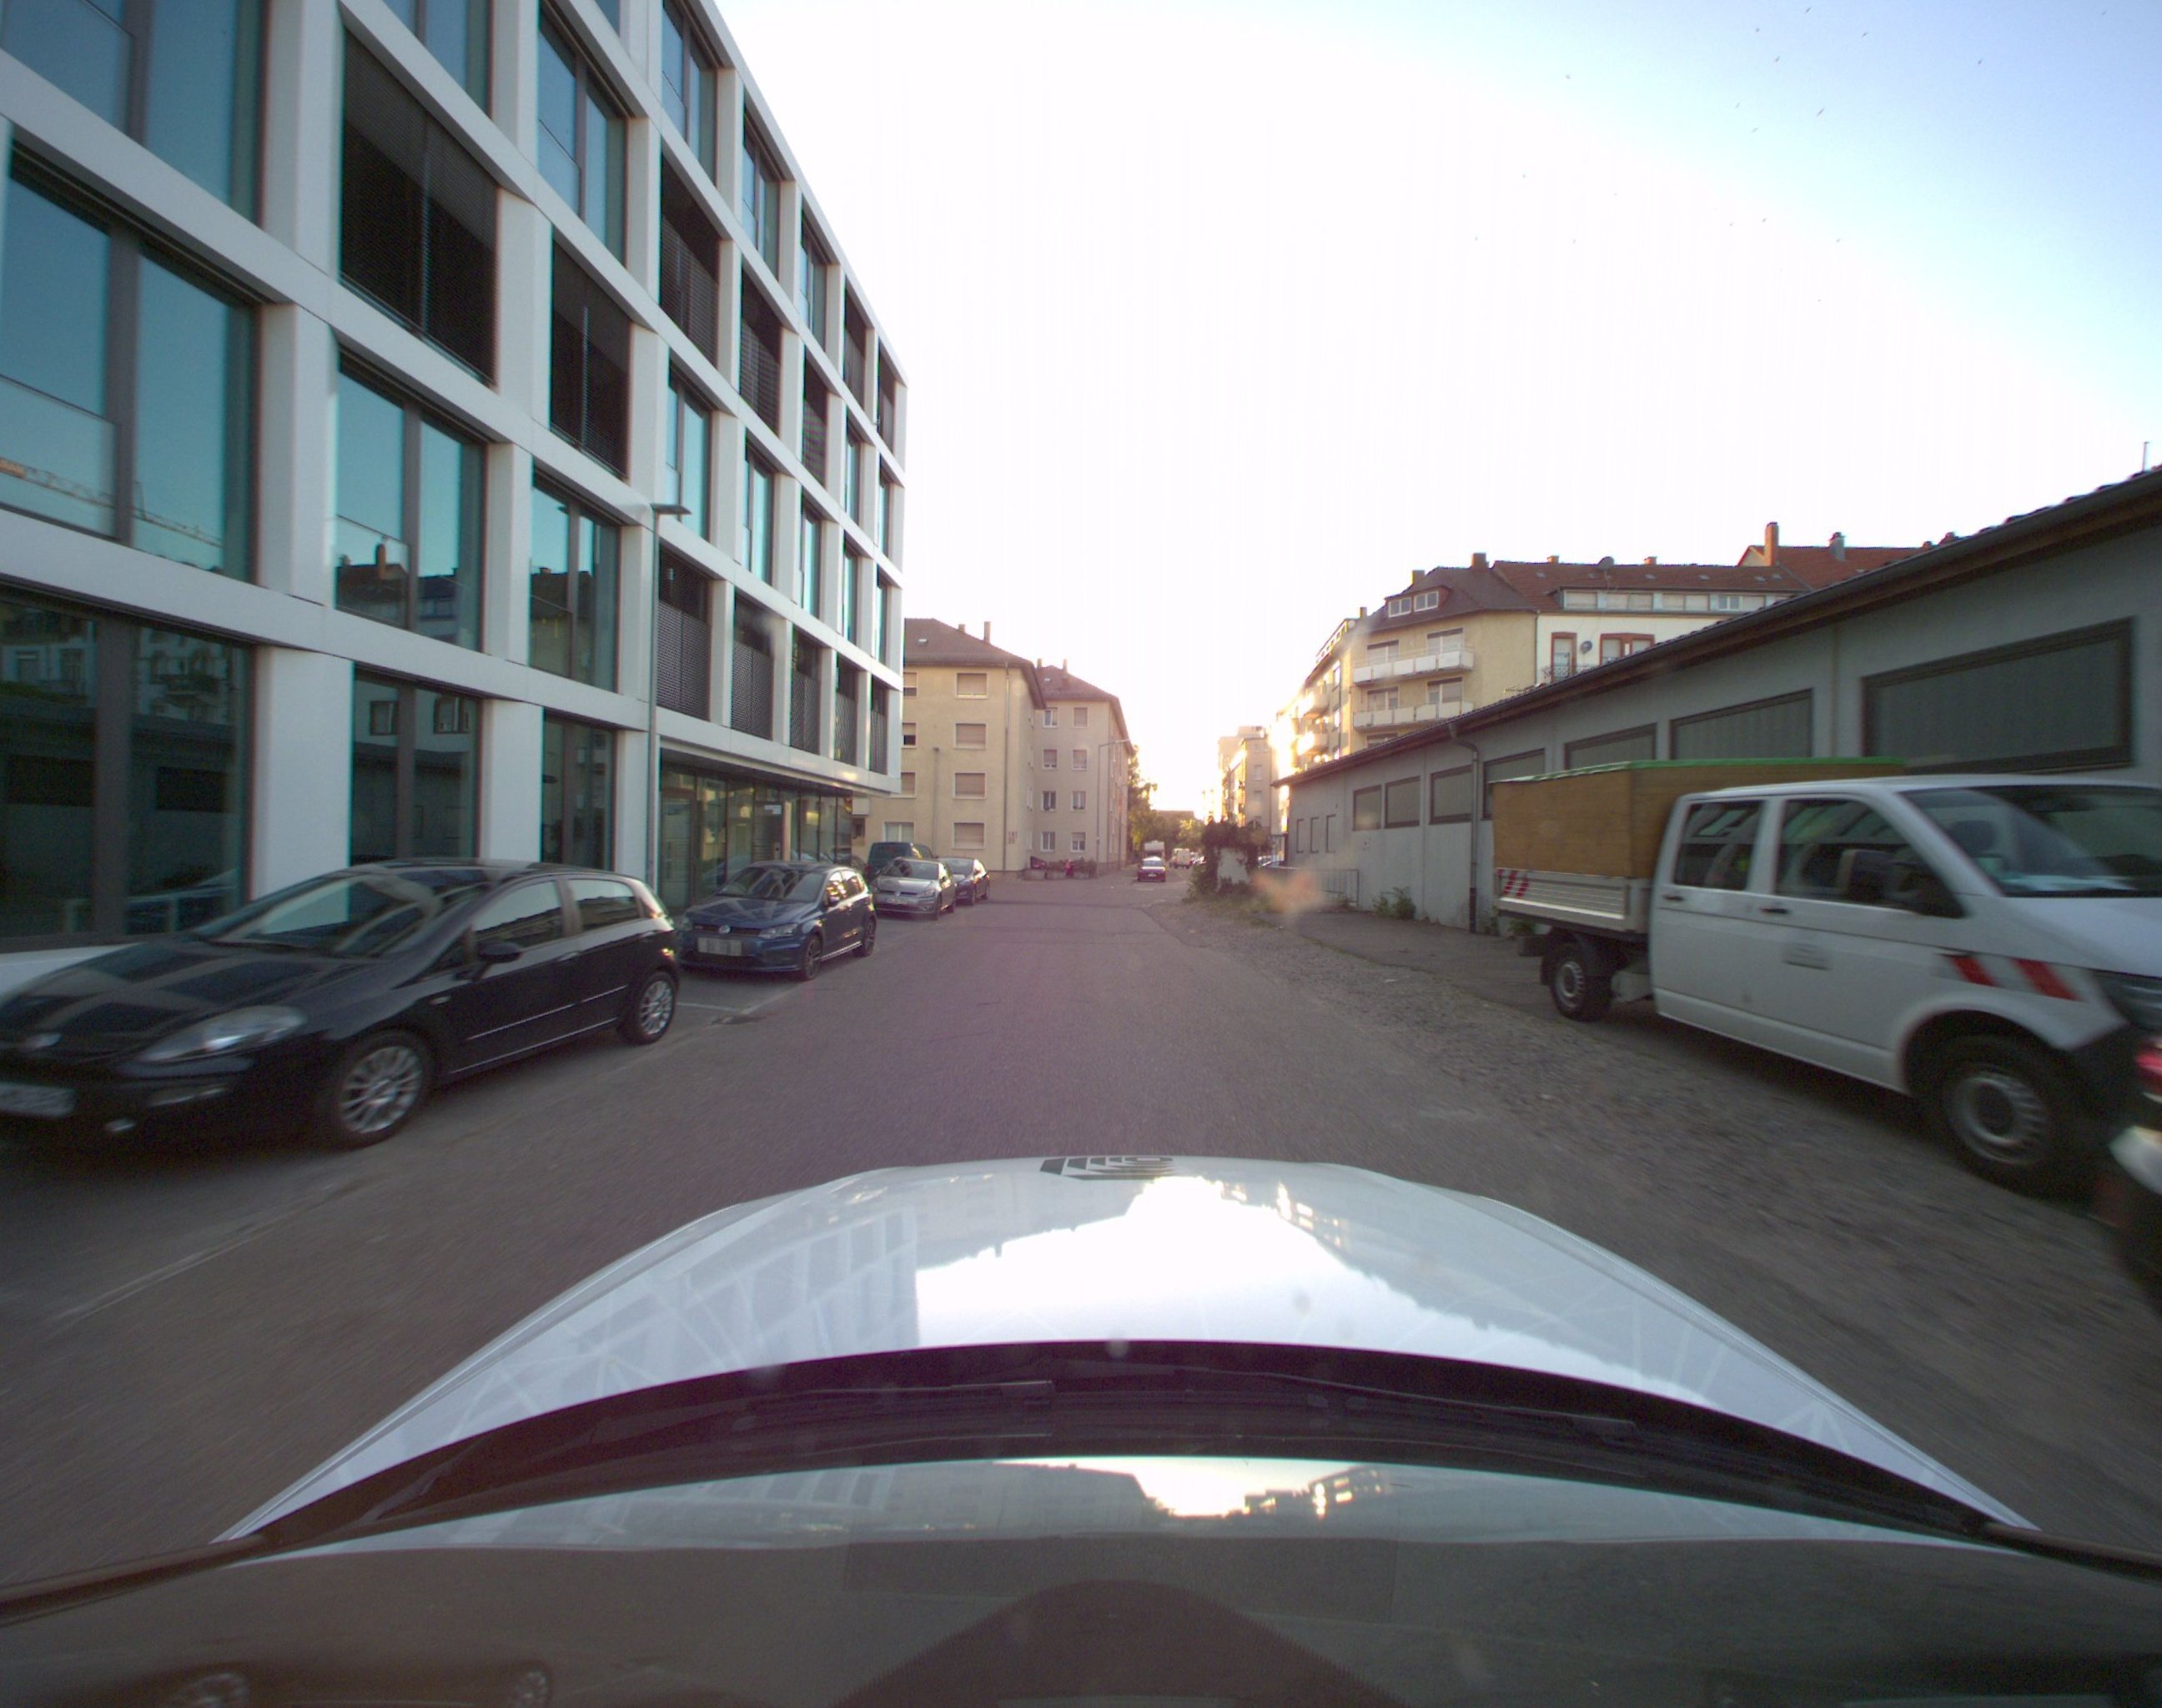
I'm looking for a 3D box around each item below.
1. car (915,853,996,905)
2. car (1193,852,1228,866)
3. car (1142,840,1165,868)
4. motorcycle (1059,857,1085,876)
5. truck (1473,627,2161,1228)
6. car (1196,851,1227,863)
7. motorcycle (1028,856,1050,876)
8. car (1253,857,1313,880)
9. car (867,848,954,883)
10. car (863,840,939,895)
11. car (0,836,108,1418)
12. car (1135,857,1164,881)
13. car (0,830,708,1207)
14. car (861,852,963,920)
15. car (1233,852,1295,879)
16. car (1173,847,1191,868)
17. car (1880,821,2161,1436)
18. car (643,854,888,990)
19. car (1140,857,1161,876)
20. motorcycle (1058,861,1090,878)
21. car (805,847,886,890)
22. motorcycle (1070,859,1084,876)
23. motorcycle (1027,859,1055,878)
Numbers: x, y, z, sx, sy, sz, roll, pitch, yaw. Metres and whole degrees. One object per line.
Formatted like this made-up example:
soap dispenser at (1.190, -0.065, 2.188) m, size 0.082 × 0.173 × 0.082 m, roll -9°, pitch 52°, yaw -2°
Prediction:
car at (-4.084, 0.759, 27.141) m, size 1.773 × 1.479 × 4.333 m, roll 4°, pitch 0°, yaw 2°
car at (18.522, 0.707, 116.701) m, size 4.791 × 1.968 × 1.741 m, roll -1°, pitch 0°, yaw 4°
car at (8.807, -0.005, 98.246) m, size 2.607 × 3.269 × 7.709 m, roll -1°, pitch 0°, yaw 6°
motorcycle at (-0.554, 0.804, 51.119) m, size 0.682 × 1.160 × 2.046 m, roll 1°, pitch 0°, yaw 30°
truck at (5.099, 0.280, 5.743) m, size 2.090 × 2.200 × 5.713 m, roll 1°, pitch 0°, yaw 2°
car at (17.369, 0.415, 108.887) m, size 3.968 × 1.530 × 1.661 m, roll -1°, pitch 0°, yaw 4°
motorcycle at (-2.627, 0.748, 51.133) m, size 0.718 × 1.264 × 2.089 m, roll 1°, pitch 0°, yaw 16°
car at (13.882, 1.001, 56.104) m, size 3.853 × 1.492 × 1.744 m, roll 1°, pitch 0°, yaw 5°
car at (-8.638, 0.578, 41.551) m, size 3.994 × 1.617 × 1.881 m, roll 0°, pitch 4°, yaw 0°
car at (-6.974, 0.454, 32.058) m, size 1.791 × 1.979 × 4.691 m, roll 1°, pitch 1°, yaw 2°
car at (-4.802, 0.664, 1.612) m, size 3.908 × 1.511 × 1.690 m, roll 2°, pitch 0°, yaw 4°
car at (4.448, 0.952, 53.099) m, size 1.837 × 1.473 × 4.082 m, roll 0°, pitch 0°, yaw 4°
car at (-4.433, 0.660, 5.452) m, size 1.641 × 1.438 × 4.205 m, roll 4°, pitch 0°, yaw 3°
car at (-4.265, 0.741, 21.138) m, size 1.705 × 1.479 × 4.183 m, roll 4°, pitch 0°, yaw -1°
car at (13.210, 0.838, 58.986) m, size 4.259 × 1.860 × 1.744 m, roll 1°, pitch -1°, yaw 5°
car at (13.524, 0.489, 109.613) m, size 2.119 × 2.717 × 4.838 m, roll -1°, pitch 0°, yaw 4°
car at (4.576, 0.734, 1.761) m, size 3.743 × 1.535 × 1.893 m, roll 1°, pitch 1°, yaw 3°
car at (-4.122, 0.783, 11.460) m, size 1.642 × 1.438 × 4.185 m, roll 4°, pitch 0°, yaw 1°
car at (5.579, 0.987, 65.903) m, size 1.608 × 1.473 × 3.508 m, roll -1°, pitch 0°, yaw 4°
motorcycle at (-0.457, 1.030, 55.761) m, size 2.107 × 1.105 × 0.563 m, roll 1°, pitch 0°, yaw 16°
car at (-9.206, 0.601, 32.180) m, size 1.773 × 1.550 × 4.332 m, roll 1°, pitch -2°, yaw 2°
motorcycle at (-0.246, 0.860, 53.540) m, size 0.678 × 1.079 × 2.038 m, roll 1°, pitch 0°, yaw 7°
motorcycle at (-2.381, 0.849, 48.830) m, size 0.716 × 1.079 × 2.093 m, roll 1°, pitch 0°, yaw 26°
